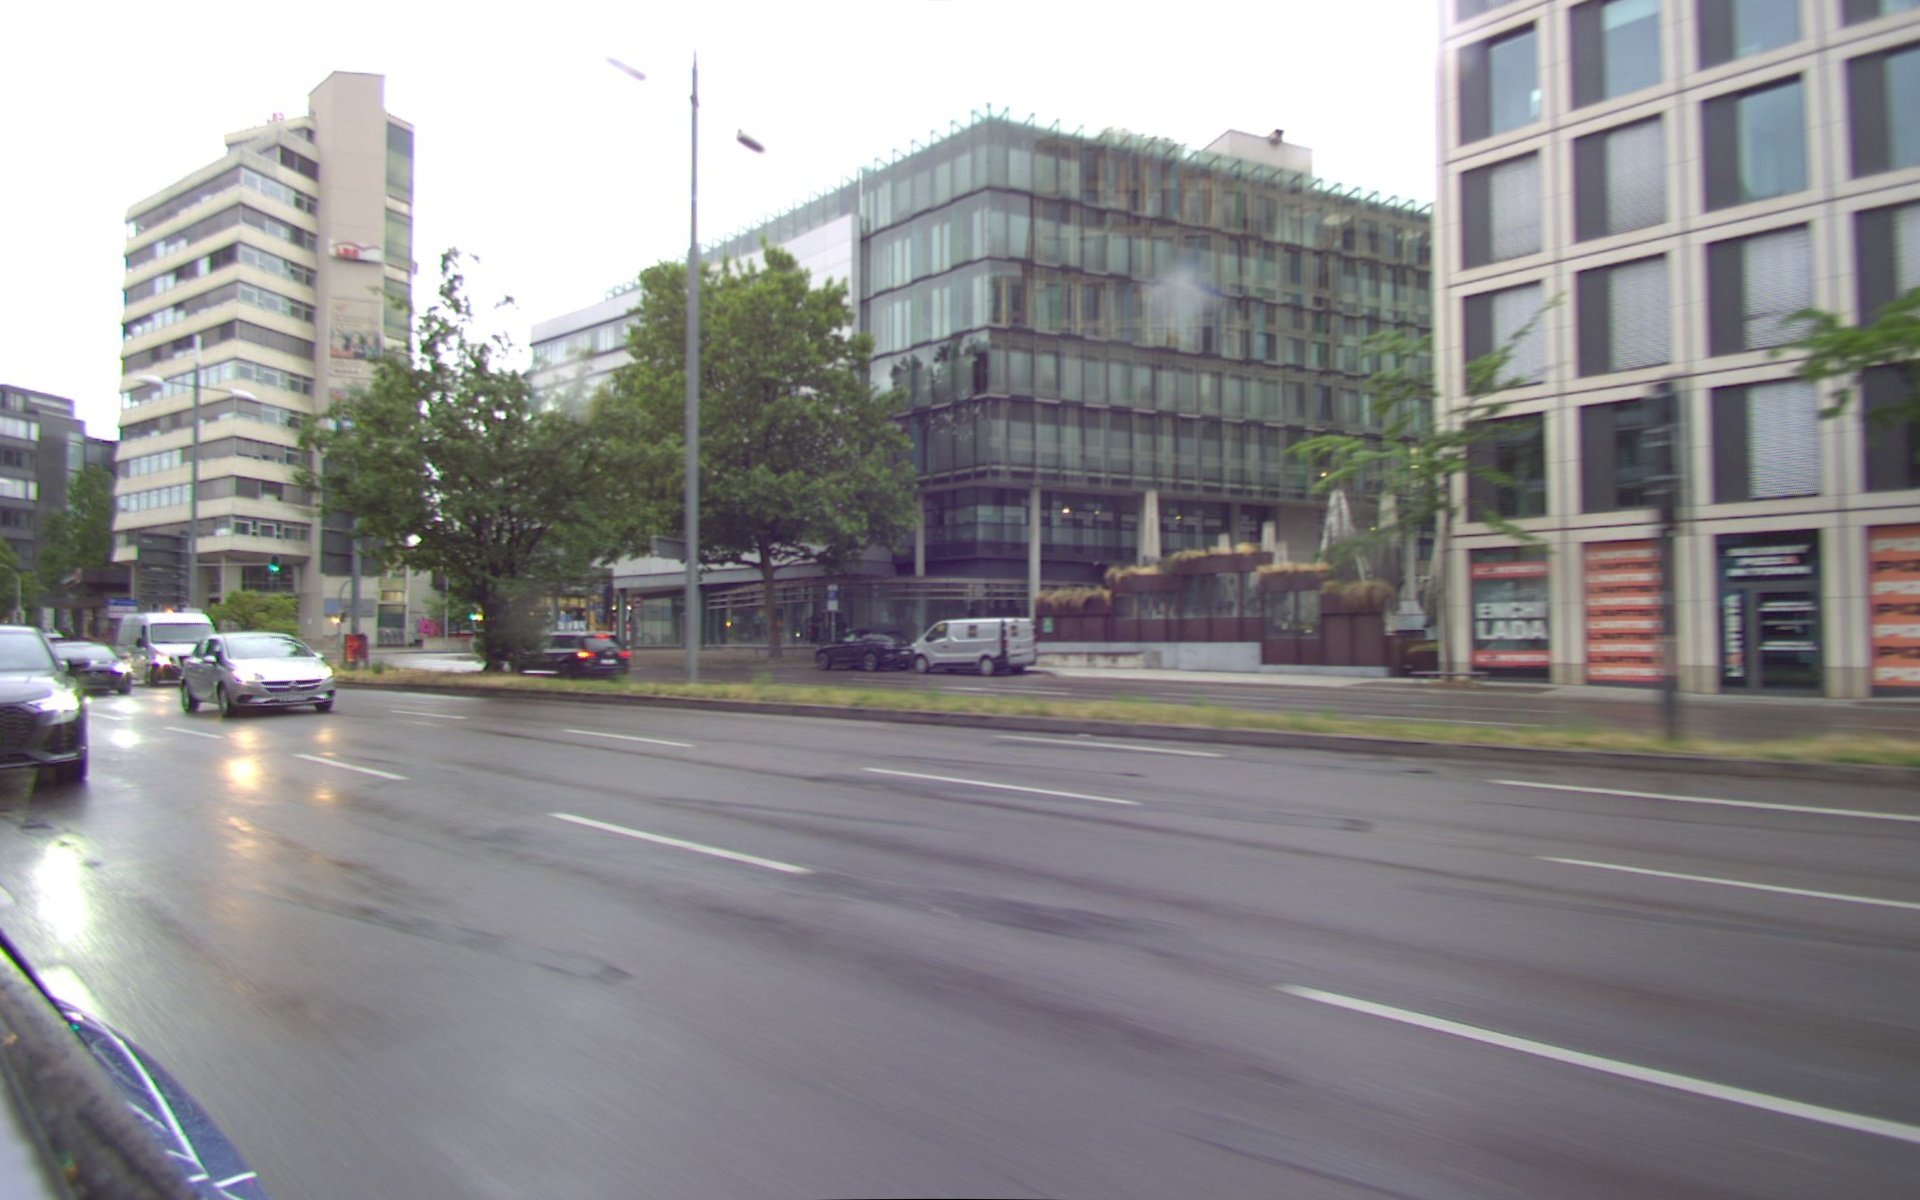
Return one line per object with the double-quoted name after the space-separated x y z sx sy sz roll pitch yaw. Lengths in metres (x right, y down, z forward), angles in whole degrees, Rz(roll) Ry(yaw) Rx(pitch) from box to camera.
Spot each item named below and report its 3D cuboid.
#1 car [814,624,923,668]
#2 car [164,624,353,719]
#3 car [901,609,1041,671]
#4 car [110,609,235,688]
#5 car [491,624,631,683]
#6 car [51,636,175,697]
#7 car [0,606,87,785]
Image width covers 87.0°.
-3.588 1.733 39.328 4.284 1.541 1.779 0 0 41 "car"
-13.078 1.231 18.790 4.122 1.490 1.753 0 0 38 "car"
0.336 1.345 36.021 4.913 2.029 1.973 0 0 41 "car"
-26.597 1.540 34.096 5.716 2.403 2.230 0 0 41 "car"
-12.650 1.619 31.989 4.865 1.644 1.809 0 0 36 "car"
-23.634 1.795 28.195 4.237 1.412 1.881 0 0 39 "car"
-10.169 0.852 10.405 1.775 1.564 4.395 0 0 -41 "car"
